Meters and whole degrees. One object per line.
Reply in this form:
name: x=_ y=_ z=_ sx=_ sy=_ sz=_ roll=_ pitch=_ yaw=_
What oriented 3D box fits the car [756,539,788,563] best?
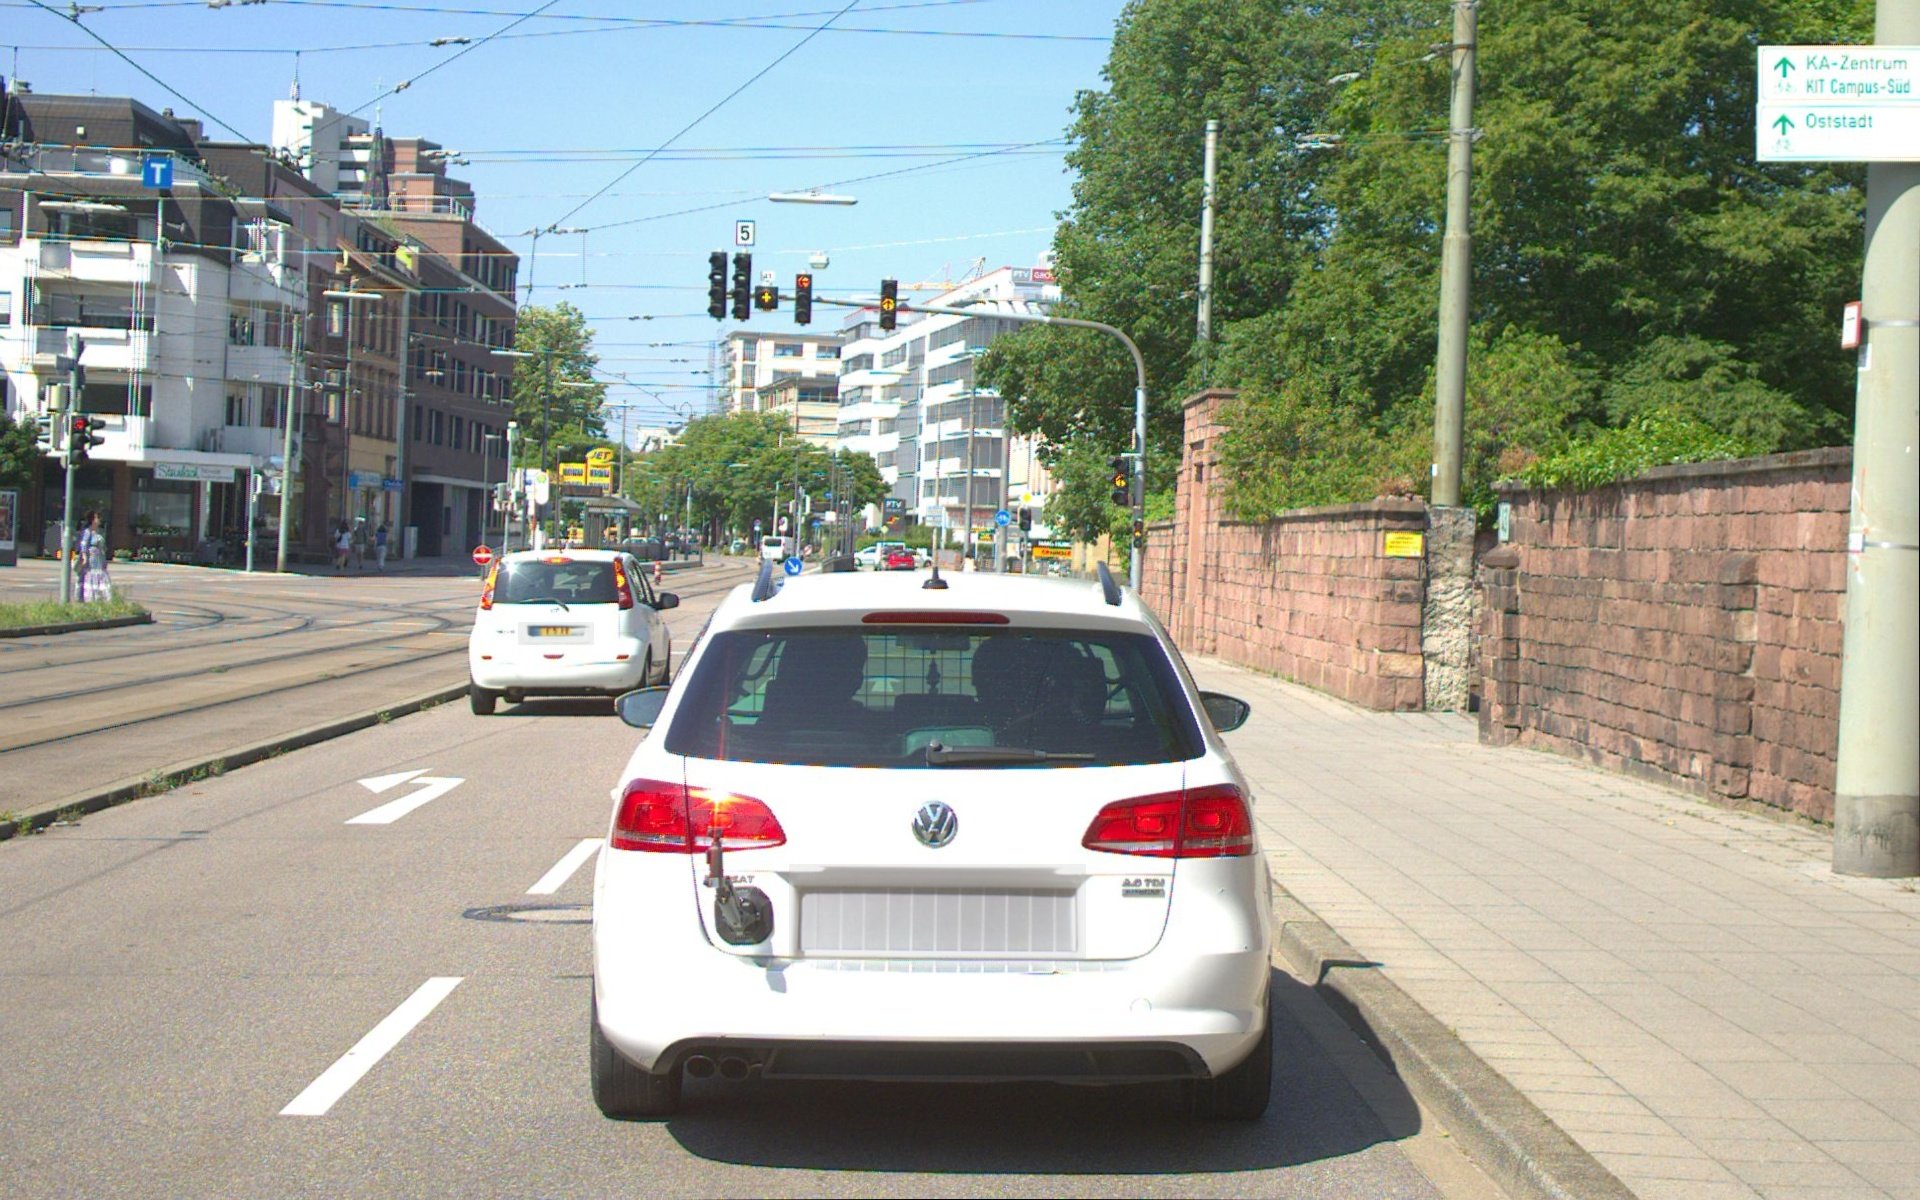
car: x=-13.100 y=-3.425 z=239.159 sx=1.698 sy=1.585 sz=3.536 roll=2 pitch=1 yaw=-11

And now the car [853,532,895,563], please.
car: x=-5.548 y=-3.390 z=222.068 sx=1.993 sy=1.897 sz=4.001 roll=2 pitch=1 yaw=-12

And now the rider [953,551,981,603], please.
rider: x=0.222 y=-0.780 z=116.811 sx=0.891 sy=1.722 sz=2.204 roll=2 pitch=1 yaw=0

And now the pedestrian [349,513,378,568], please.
pedestrian: x=-22.176 y=-2.209 z=127.891 sx=0.936 sy=2.007 sz=0.991 roll=2 pitch=1 yaw=-6

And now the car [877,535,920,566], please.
car: x=-4.233 y=-3.405 z=234.369 sx=1.993 sy=2.007 sz=4.001 roll=2 pitch=1 yaw=-14

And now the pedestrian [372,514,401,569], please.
pedestrian: x=-21.370 y=-2.186 z=128.084 sx=0.936 sy=2.007 sz=0.991 roll=2 pitch=1 yaw=-6

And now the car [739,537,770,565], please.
car: x=-12.400 y=-2.967 z=207.476 sx=1.698 sy=1.585 sz=3.535 roll=2 pitch=1 yaw=-2

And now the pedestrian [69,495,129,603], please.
pedestrian: x=-14.206 y=-0.844 z=56.728 sx=0.826 sy=1.733 sz=0.932 roll=2 pitch=1 yaw=-8

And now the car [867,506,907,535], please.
car: x=-5.272 y=-5.785 z=248.829 sx=1.993 sy=2.007 sz=4.001 roll=2 pitch=1 yaw=-14

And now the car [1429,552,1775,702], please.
car: x=6.935 y=0.281 z=37.351 sx=3.407 sy=1.459 sz=1.524 roll=2 pitch=1 yaw=-1

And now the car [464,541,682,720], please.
car: x=-3.715 y=0.248 z=33.581 sx=1.730 sy=1.591 sz=4.011 roll=2 pitch=1 yaw=-1

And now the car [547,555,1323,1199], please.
car: x=-0.057 y=0.630 z=9.850 sx=1.778 sy=1.485 sz=3.847 roll=0 pitch=1 yaw=0

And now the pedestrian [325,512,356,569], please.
pedestrian: x=-22.090 y=-2.121 z=122.550 sx=0.936 sy=2.007 sz=0.991 roll=2 pitch=1 yaw=-4
